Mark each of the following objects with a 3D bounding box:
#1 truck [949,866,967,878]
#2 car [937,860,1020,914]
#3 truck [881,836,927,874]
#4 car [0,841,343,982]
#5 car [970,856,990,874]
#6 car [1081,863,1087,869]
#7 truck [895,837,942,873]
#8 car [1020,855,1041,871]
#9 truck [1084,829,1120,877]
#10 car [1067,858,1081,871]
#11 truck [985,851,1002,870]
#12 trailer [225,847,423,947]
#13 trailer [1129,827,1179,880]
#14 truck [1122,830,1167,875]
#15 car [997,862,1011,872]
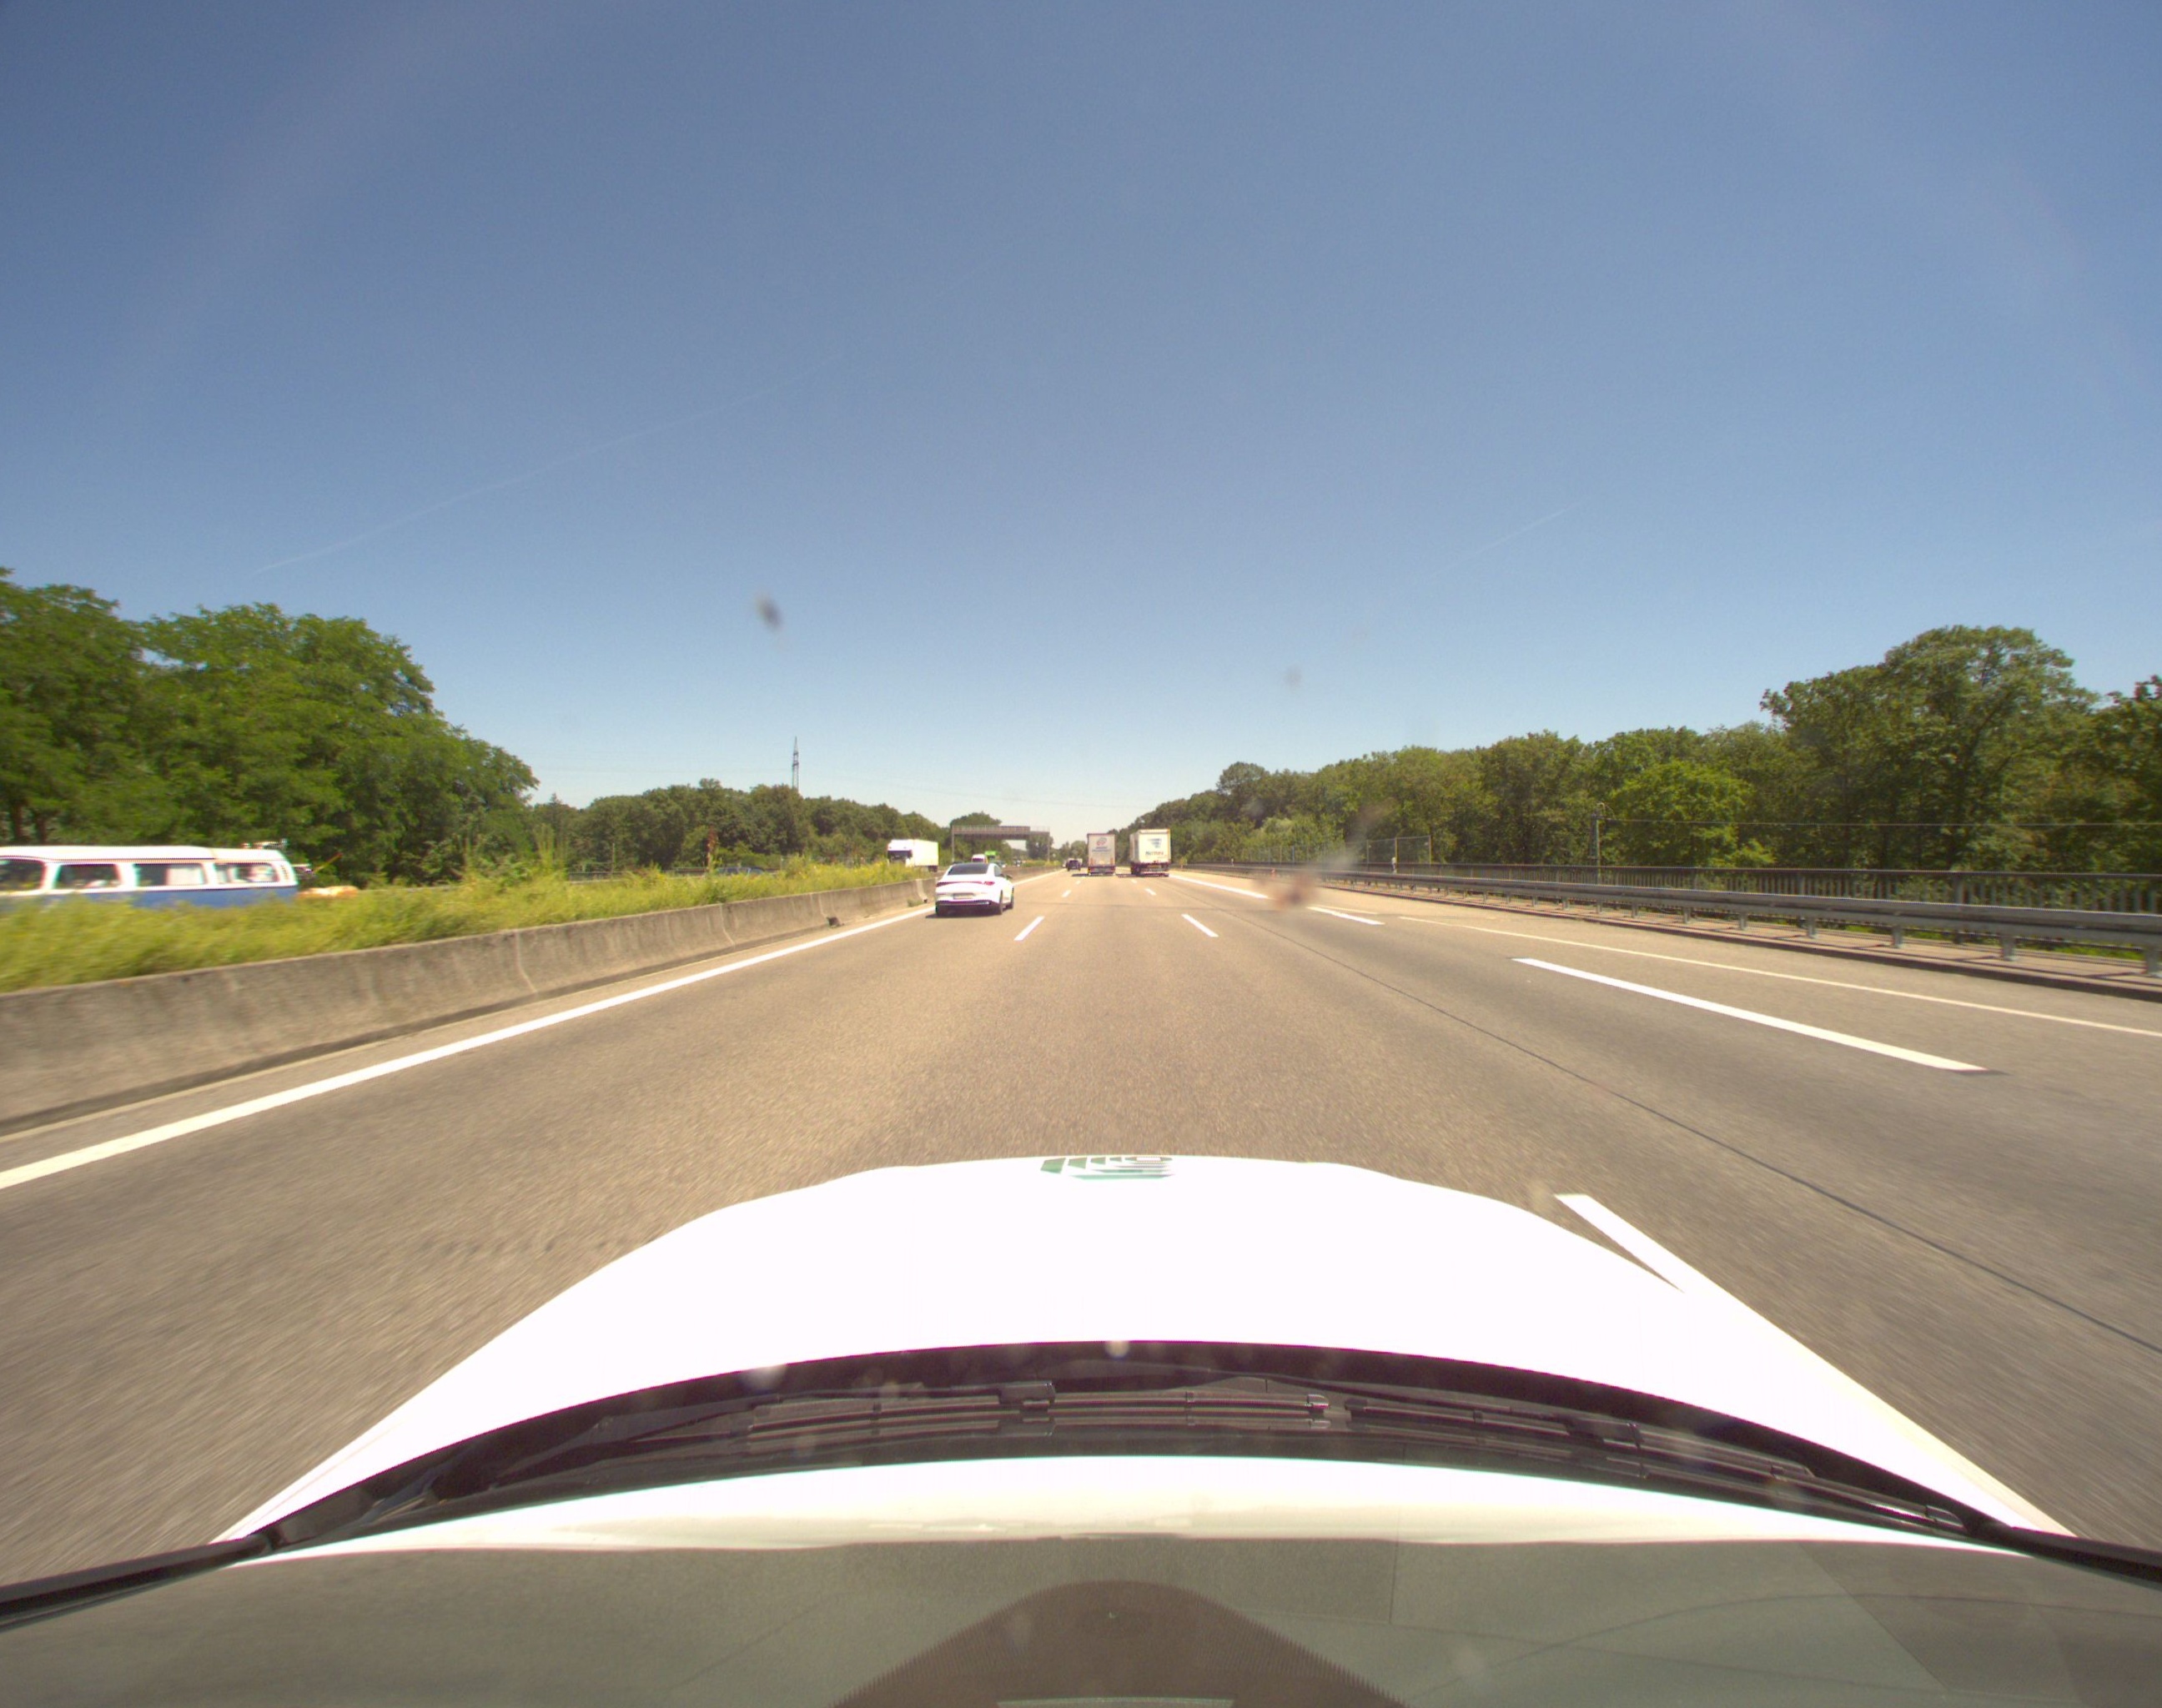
[{"bbox_3d":[-18.641,2.712,123.990,1.987,1.800,4.741,-1,-1,0],"label":"truck"},{"bbox_3d":[-3.005,0.926,24.946,1.760,1.448,5.109,-1,0,1],"label":"car"},{"bbox_3d":[-19.318,0.102,89.586,3.038,3.977,8.289,-1,0,1],"label":"truck"},{"bbox_3d":[-16.601,0.881,14.583,2.117,2.082,4.972,-1,0,2],"label":"car"},{"bbox_3d":[-14.776,1.557,119.512,1.987,2.568,6.128,-1,-1,0],"label":"car"},{"bbox_3d":[0.894,3.647,251.229,1.988,1.596,3.998,-1,0,-1],"label":"car"},{"bbox_3d":[-19.195,0.151,96.759,3.038,3.977,11.151,-1,0,1],"label":"truck"},{"bbox_3d":[-6.743,1.221,109.205,2.283,2.014,4.713,-1,0,2],"label":"car"},{"bbox_3d":[1.925,-0.135,77.430,3.219,4.202,8.466,-1,0,0],"label":"truck"},{"bbox_3d":[-1.085,1.550,124.365,1.987,1.874,3.999,-1,1,-1],"label":"car"},{"bbox_3d":[-19.001,1.382,177.321,2.911,3.941,6.501,-1,0,2],"label":"truck"},{"bbox_3d":[-16.498,0.888,17.893,2.095,2.026,2.369,-1,0,1],"label":"trailer"},{"bbox_3d":[6.112,-0.092,69.565,3.357,4.142,9.089,-1,1,0],"label":"trailer"},{"bbox_3d":[6.002,-0.202,78.958,3.316,4.052,10.949,-1,1,-1],"label":"truck"},{"bbox_3d":[-13.910,2.297,147.248,1.993,1.712,4.538,-1,-1,0],"label":"car"}]
